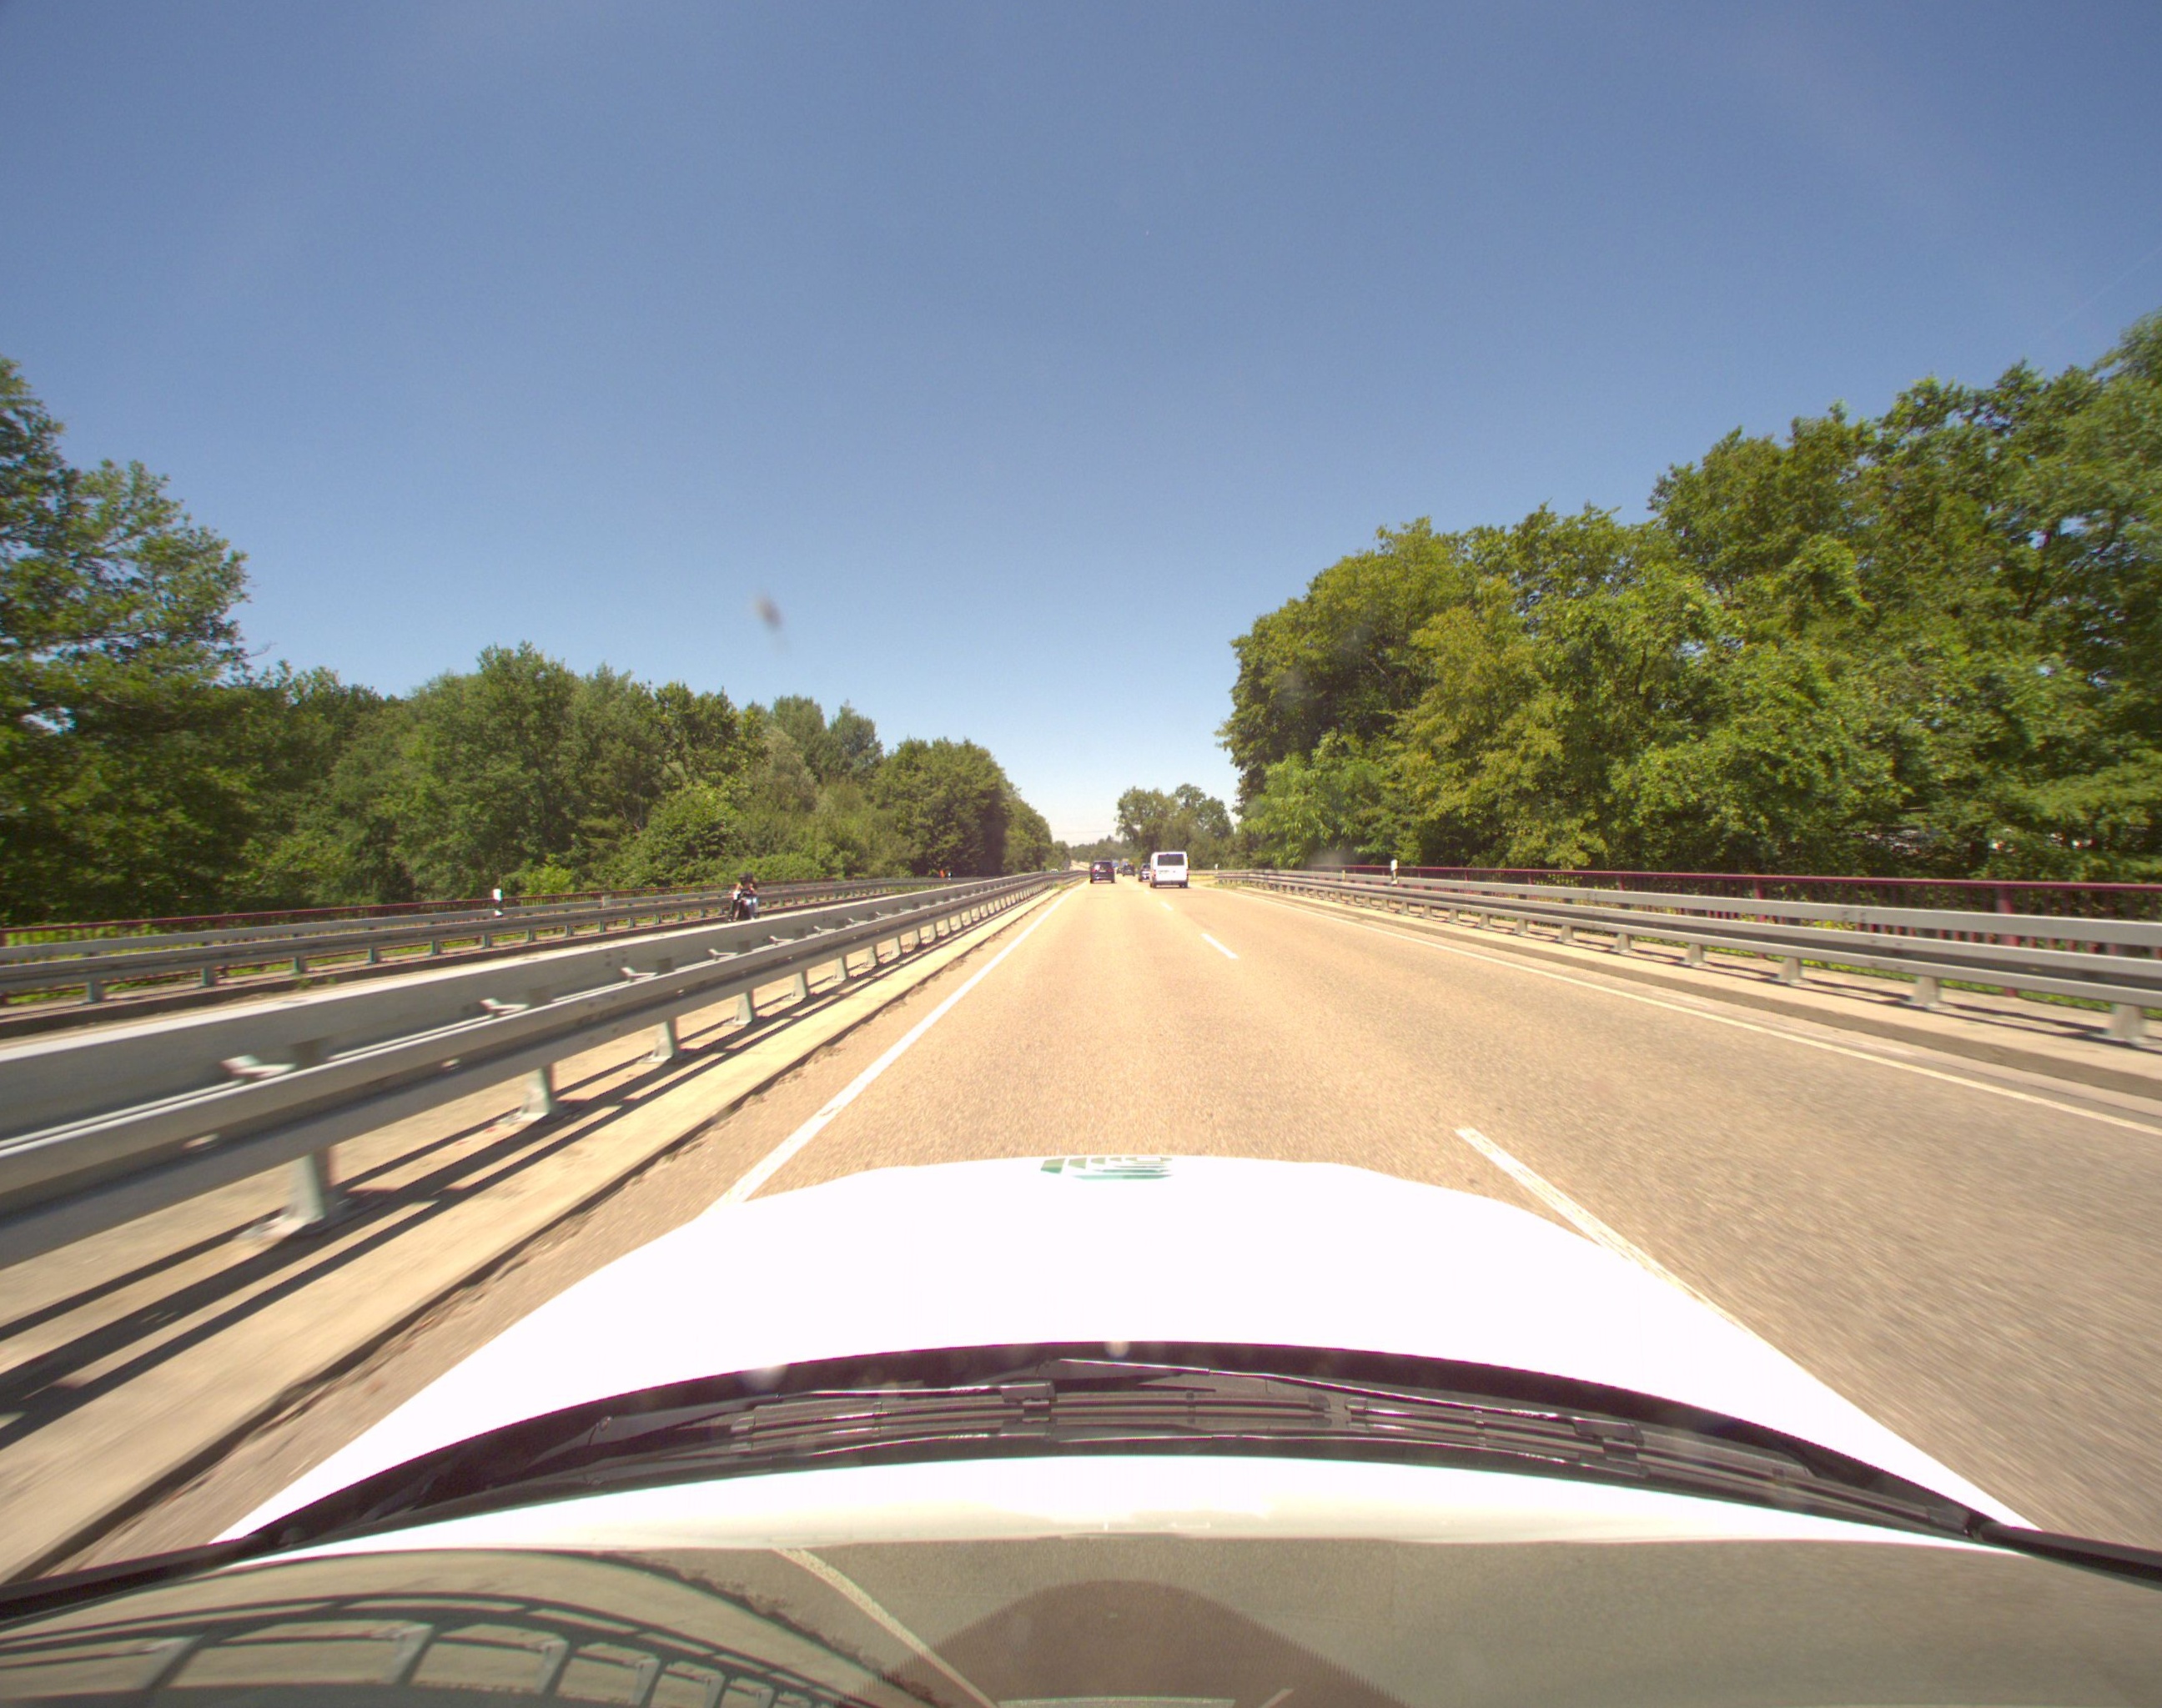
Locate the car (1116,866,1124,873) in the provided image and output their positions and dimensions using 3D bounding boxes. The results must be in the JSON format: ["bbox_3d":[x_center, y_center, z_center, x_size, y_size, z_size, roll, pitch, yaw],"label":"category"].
[{"bbox_3d":[8.876,3.598,185.563,1.813,1.414,4.000,-3,-1,1],"label":"car"}]

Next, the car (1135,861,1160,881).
[{"bbox_3d":[5.461,1.351,67.329,1.779,1.553,4.019,-2,-1,0],"label":"car"}]

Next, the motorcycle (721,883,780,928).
[{"bbox_3d":[-9.368,1.432,23.172,0.612,1.104,2.314,-2,0,2],"label":"motorcycle"}]

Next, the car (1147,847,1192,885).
[{"bbox_3d":[4.965,0.714,46.374,1.999,1.989,5.033,-2,-2,0],"label":"car"}]

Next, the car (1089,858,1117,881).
[{"bbox_3d":[1.686,1.204,63.435,1.987,1.655,3.998,-2,-2,0],"label":"car"}]

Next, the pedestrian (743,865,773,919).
[{"bbox_3d":[-9.356,1.088,23.585,0.612,1.540,0.494,-2,-1,2],"label":"pedestrian"}]

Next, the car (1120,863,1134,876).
[{"bbox_3d":[6.802,2.299,120.138,1.773,1.817,4.214,-3,-1,1],"label":"car"}]

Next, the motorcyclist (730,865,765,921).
[{"bbox_3d":[-9.380,1.083,22.934,0.612,1.540,0.777,-2,-1,2],"label":"motorcyclist"}]
